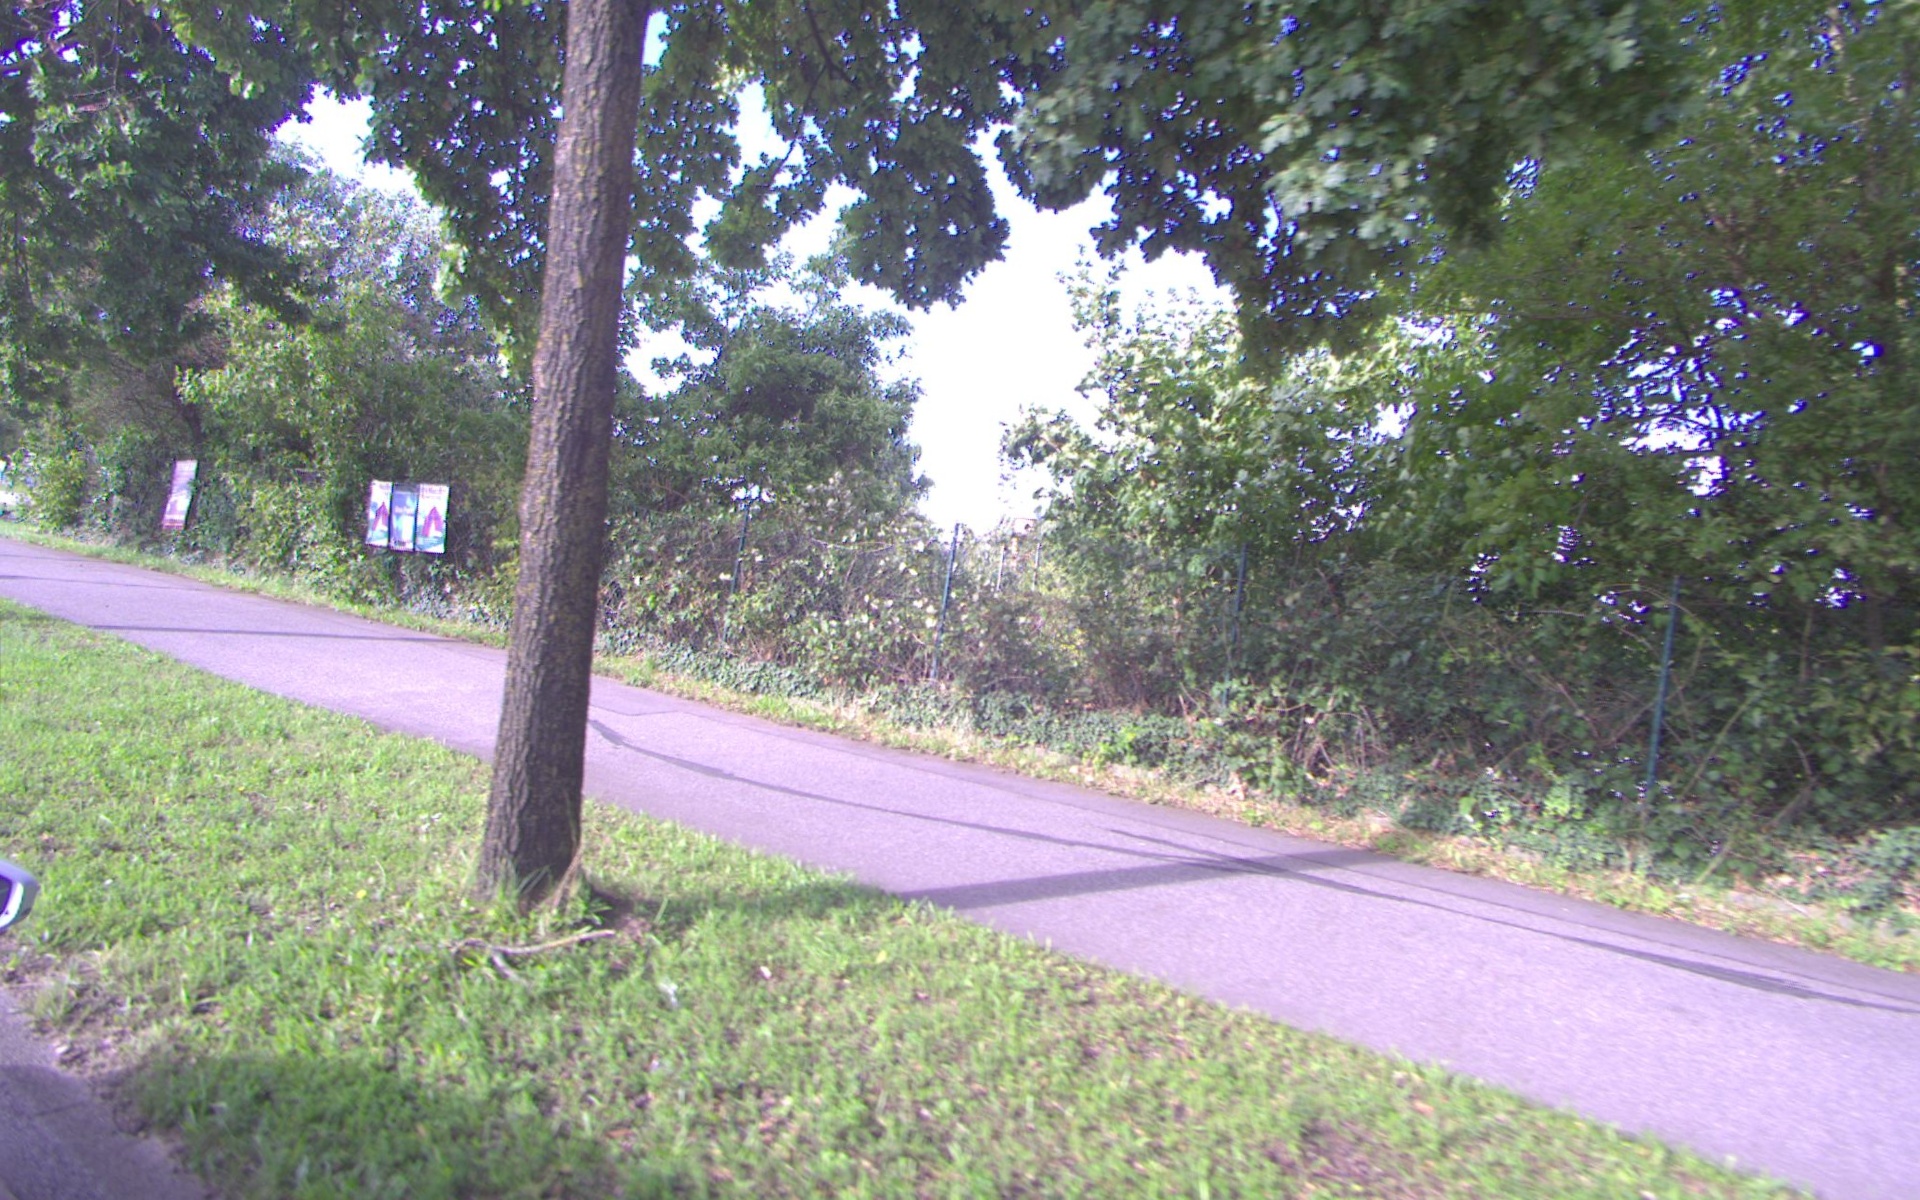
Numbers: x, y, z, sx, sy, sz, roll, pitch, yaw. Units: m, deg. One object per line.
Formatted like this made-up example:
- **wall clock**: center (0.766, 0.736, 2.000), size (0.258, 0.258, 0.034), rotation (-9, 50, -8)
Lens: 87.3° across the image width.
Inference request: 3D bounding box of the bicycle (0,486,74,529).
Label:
- **bicycle**: center (-31.015, -3.098, 33.805), size (0.643, 1.178, 1.731), rotation (7, 0, 16)

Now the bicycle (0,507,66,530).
- **bicycle**: center (-25.316, -2.234, 26.657), size (2.529, 0.390, 1.411), rotation (7, 0, 20)
